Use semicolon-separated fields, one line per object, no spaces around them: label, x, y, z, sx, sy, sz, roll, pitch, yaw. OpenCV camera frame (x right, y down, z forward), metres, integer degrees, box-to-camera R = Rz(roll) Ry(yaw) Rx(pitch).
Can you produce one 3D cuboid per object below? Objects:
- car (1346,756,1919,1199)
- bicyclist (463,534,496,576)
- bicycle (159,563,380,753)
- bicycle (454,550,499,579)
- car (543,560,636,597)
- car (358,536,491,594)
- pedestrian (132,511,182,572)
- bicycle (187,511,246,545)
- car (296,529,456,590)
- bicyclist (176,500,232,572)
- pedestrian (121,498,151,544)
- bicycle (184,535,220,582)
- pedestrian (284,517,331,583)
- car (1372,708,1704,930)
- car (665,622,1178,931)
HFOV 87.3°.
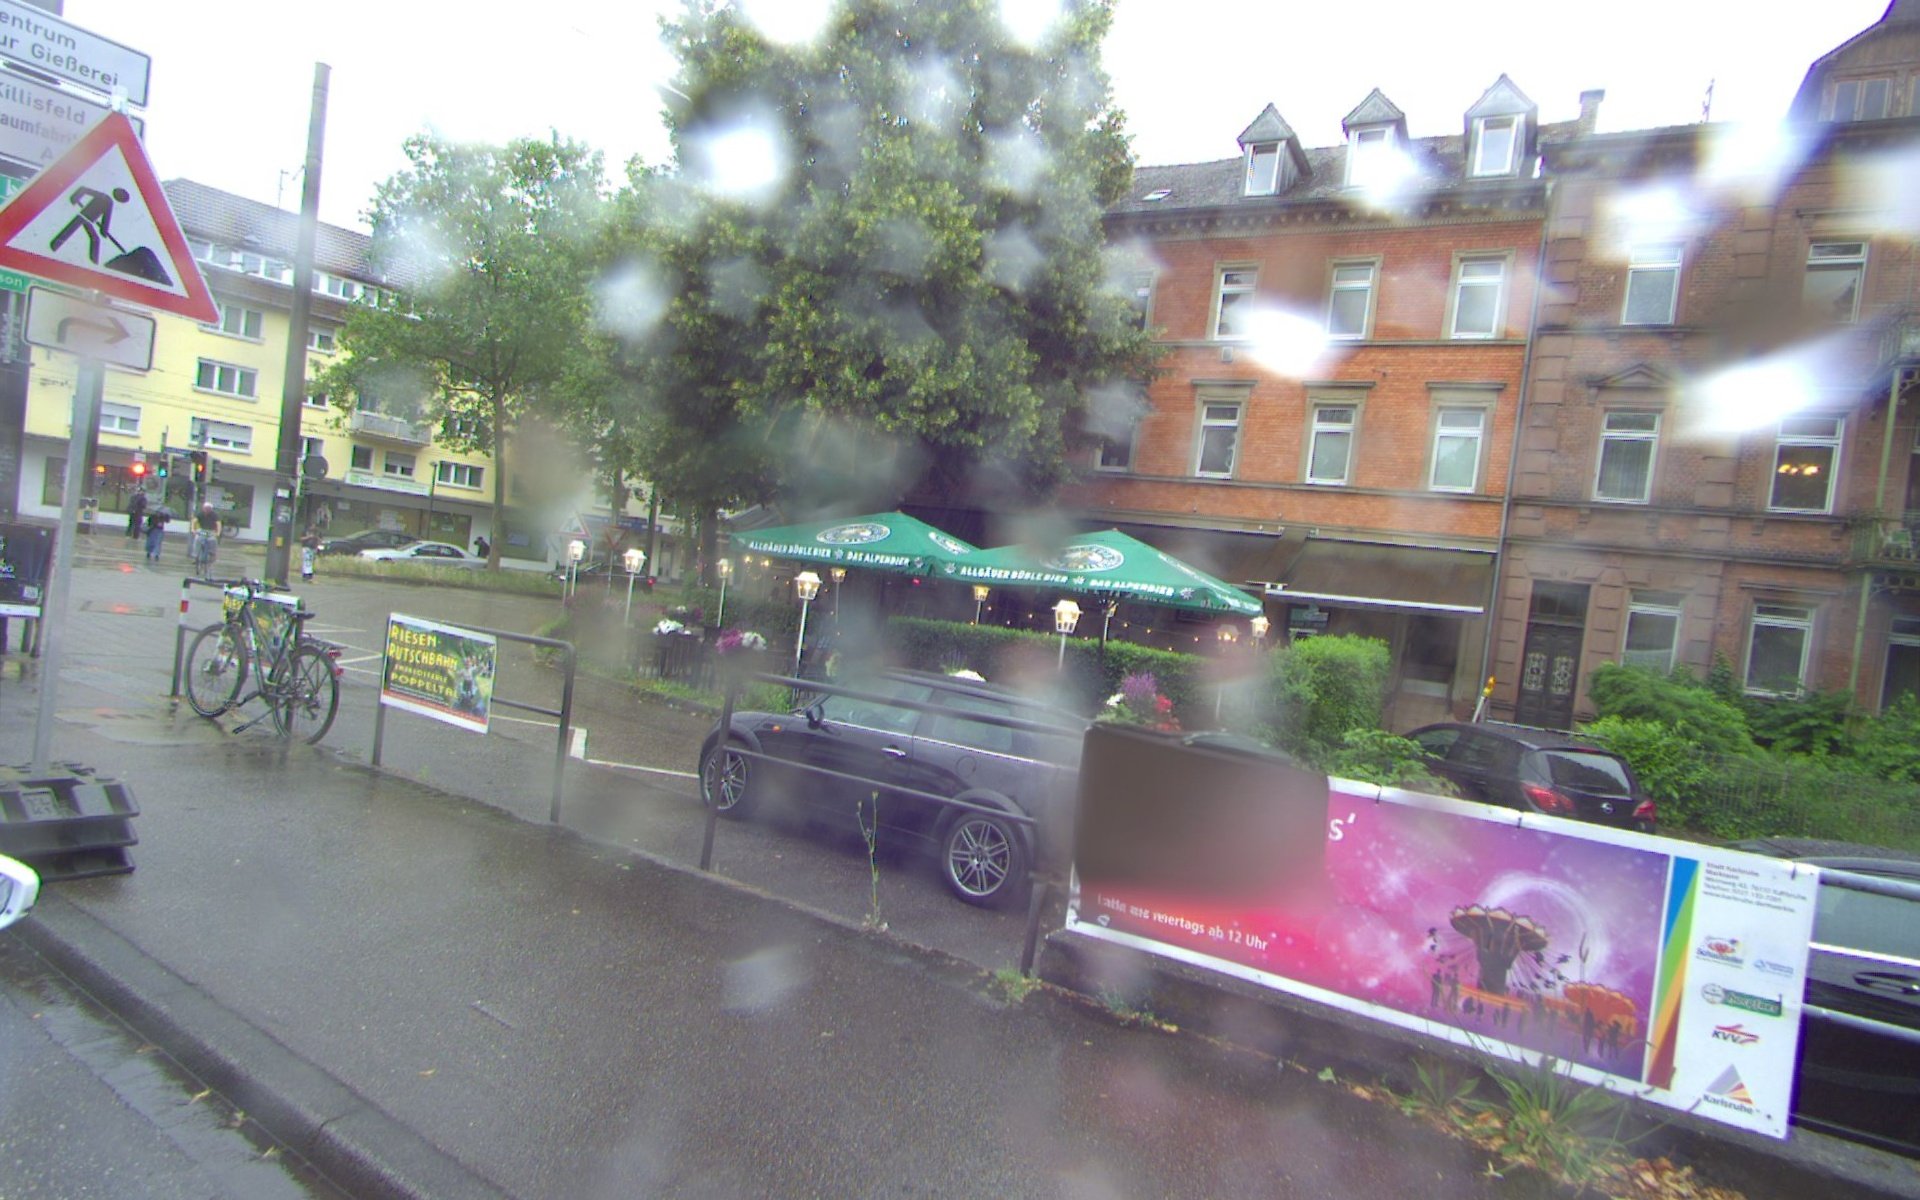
car;4.187;1.855;4.962;3.907;1.416;1.706;7;-1;32
bicyclist;-19.964;-1.864;41.774;0.699;1.634;0.815;7;0;32
bicycle;-5.183;0.402;7.501;1.984;1.119;0.515;7;-3;34
bicycle;-20.042;-1.462;41.727;0.415;1.013;1.640;7;-1;32
car;-15.518;-0.879;42.278;1.227;1.095;3.531;7;-2;34
car;-19.779;-1.280;37.231;3.926;1.508;1.784;8;0;-43
pedestrian;-22.297;-1.611;27.946;0.612;1.552;0.816;7;0;-6
bicycle;-35.605;-3.436;48.201;2.096;1.277;0.525;8;0;-44
car;-22.448;-1.522;38.827;1.975;1.661;4.928;3;-4;43
bicyclist;-18.590;-1.559;24.744;0.872;1.602;0.853;7;-1;-32
pedestrian;-29.432;-2.811;35.946;0.616;1.518;0.548;7;0;-32
bicycle;-18.657;-1.045;24.776;0.455;1.040;1.885;7;0;-32
pedestrian;-18.402;-1.404;28.374;0.898;1.689;1.012;7;-1;-31
car;6.699;2.435;12.274;1.962;1.733;4.004;7;-1;8
car;-0.357;1.214;7.804;3.468;1.457;1.710;8;-3;34
